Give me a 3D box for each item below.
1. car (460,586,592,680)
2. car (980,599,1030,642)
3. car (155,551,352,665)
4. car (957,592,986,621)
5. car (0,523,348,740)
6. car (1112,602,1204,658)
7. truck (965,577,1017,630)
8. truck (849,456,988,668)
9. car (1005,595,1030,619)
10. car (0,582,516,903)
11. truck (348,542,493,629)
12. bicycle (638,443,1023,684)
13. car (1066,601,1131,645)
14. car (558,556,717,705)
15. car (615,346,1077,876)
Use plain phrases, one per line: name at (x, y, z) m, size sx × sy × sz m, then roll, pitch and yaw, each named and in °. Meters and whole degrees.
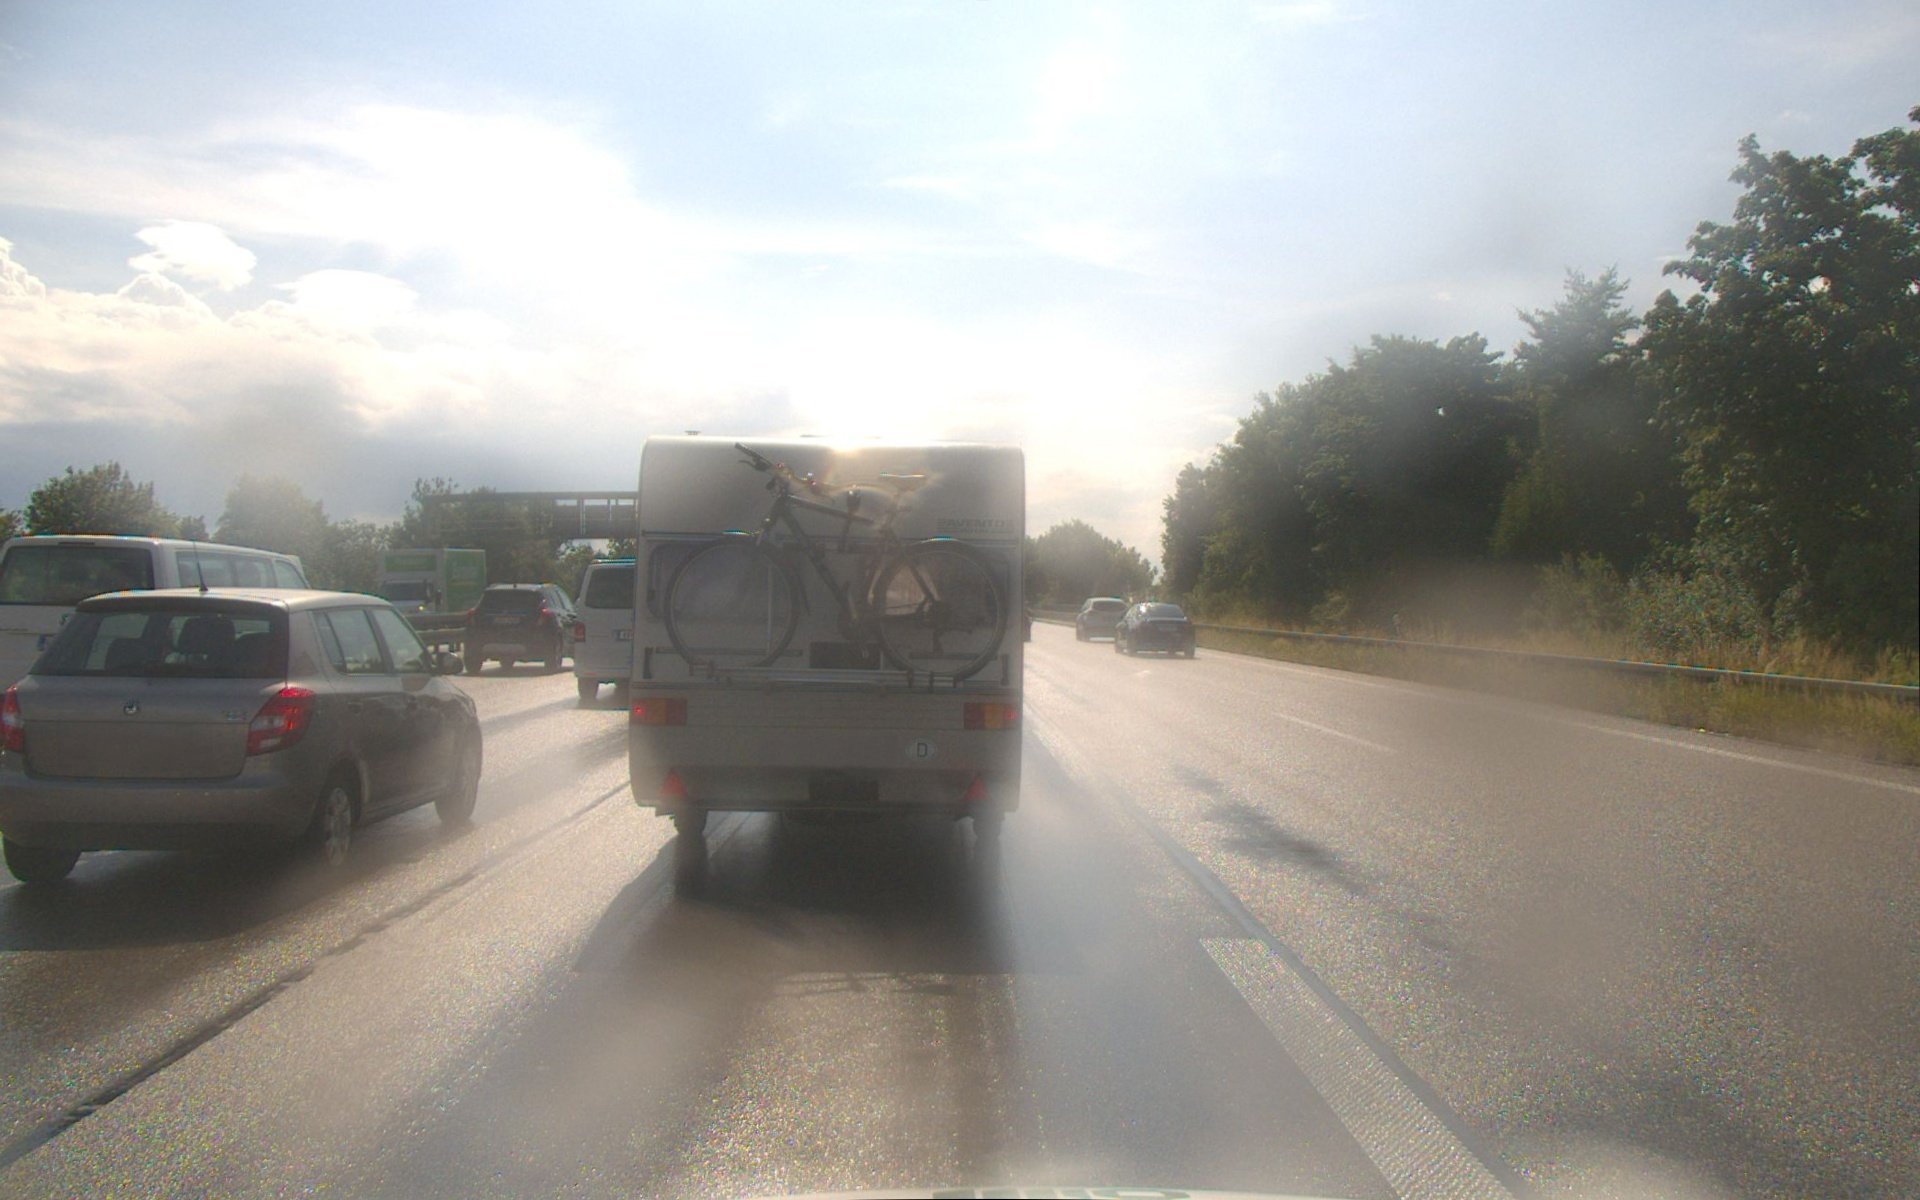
car at (-8.424, 0.614, 32.438) m, size 1.737 × 1.691 × 3.997 m, roll 1°, pitch 0°, yaw -4°
car at (1.728, 0.782, 64.366) m, size 1.798 × 1.585 × 3.999 m, roll 1°, pitch 0°, yaw -1°
car at (-16.372, 0.171, 38.747) m, size 2.071 × 2.438 × 6.101 m, roll 1°, pitch 0°, yaw -1°
car at (0.663, 0.367, 101.102) m, size 1.684 × 1.713 × 3.999 m, roll 1°, pitch 0°, yaw -1°
car at (-8.319, 0.283, 17.682) m, size 1.810 × 1.967 × 5.014 m, roll 1°, pitch 0°, yaw -2°
car at (5.685, 0.845, 47.956) m, size 1.840 × 1.521 × 3.996 m, roll 1°, pitch 0°, yaw -5°
truck at (1.465, 0.182, 81.561) m, size 2.366 × 2.486 × 6.052 m, roll 1°, pitch 0°, yaw -1°
truck at (-1.136, -0.849, 42.368) m, size 3.083 × 4.707 × 10.730 m, roll 1°, pitch 0°, yaw -2°
car at (4.177, 0.492, 120.696) m, size 1.684 × 1.713 × 3.999 m, roll 1°, pitch 0°, yaw -1°
car at (-4.069, 0.660, 9.630) m, size 1.947 × 1.483 × 3.826 m, roll 1°, pitch 0°, yaw -1°
truck at (-20.559, -0.496, 63.623) m, size 2.857 × 3.039 × 8.719 m, roll 1°, pitch 0°, yaw -1°
bicycle at (-0.642, -0.179, 8.422) m, size 1.894 × 1.161 × 0.384 m, roll 1°, pitch -1°, yaw -1°
car at (5.358, 0.873, 64.223) m, size 1.840 × 1.657 × 3.996 m, roll 1°, pitch 0°, yaw -5°
car at (-4.794, 0.431, 25.086) m, size 1.839 × 2.049 × 3.997 m, roll 1°, pitch 0°, yaw -4°
car at (-0.610, 0.069, 10.622) m, size 2.361 × 2.721 × 3.999 m, roll 1°, pitch 0°, yaw -1°
